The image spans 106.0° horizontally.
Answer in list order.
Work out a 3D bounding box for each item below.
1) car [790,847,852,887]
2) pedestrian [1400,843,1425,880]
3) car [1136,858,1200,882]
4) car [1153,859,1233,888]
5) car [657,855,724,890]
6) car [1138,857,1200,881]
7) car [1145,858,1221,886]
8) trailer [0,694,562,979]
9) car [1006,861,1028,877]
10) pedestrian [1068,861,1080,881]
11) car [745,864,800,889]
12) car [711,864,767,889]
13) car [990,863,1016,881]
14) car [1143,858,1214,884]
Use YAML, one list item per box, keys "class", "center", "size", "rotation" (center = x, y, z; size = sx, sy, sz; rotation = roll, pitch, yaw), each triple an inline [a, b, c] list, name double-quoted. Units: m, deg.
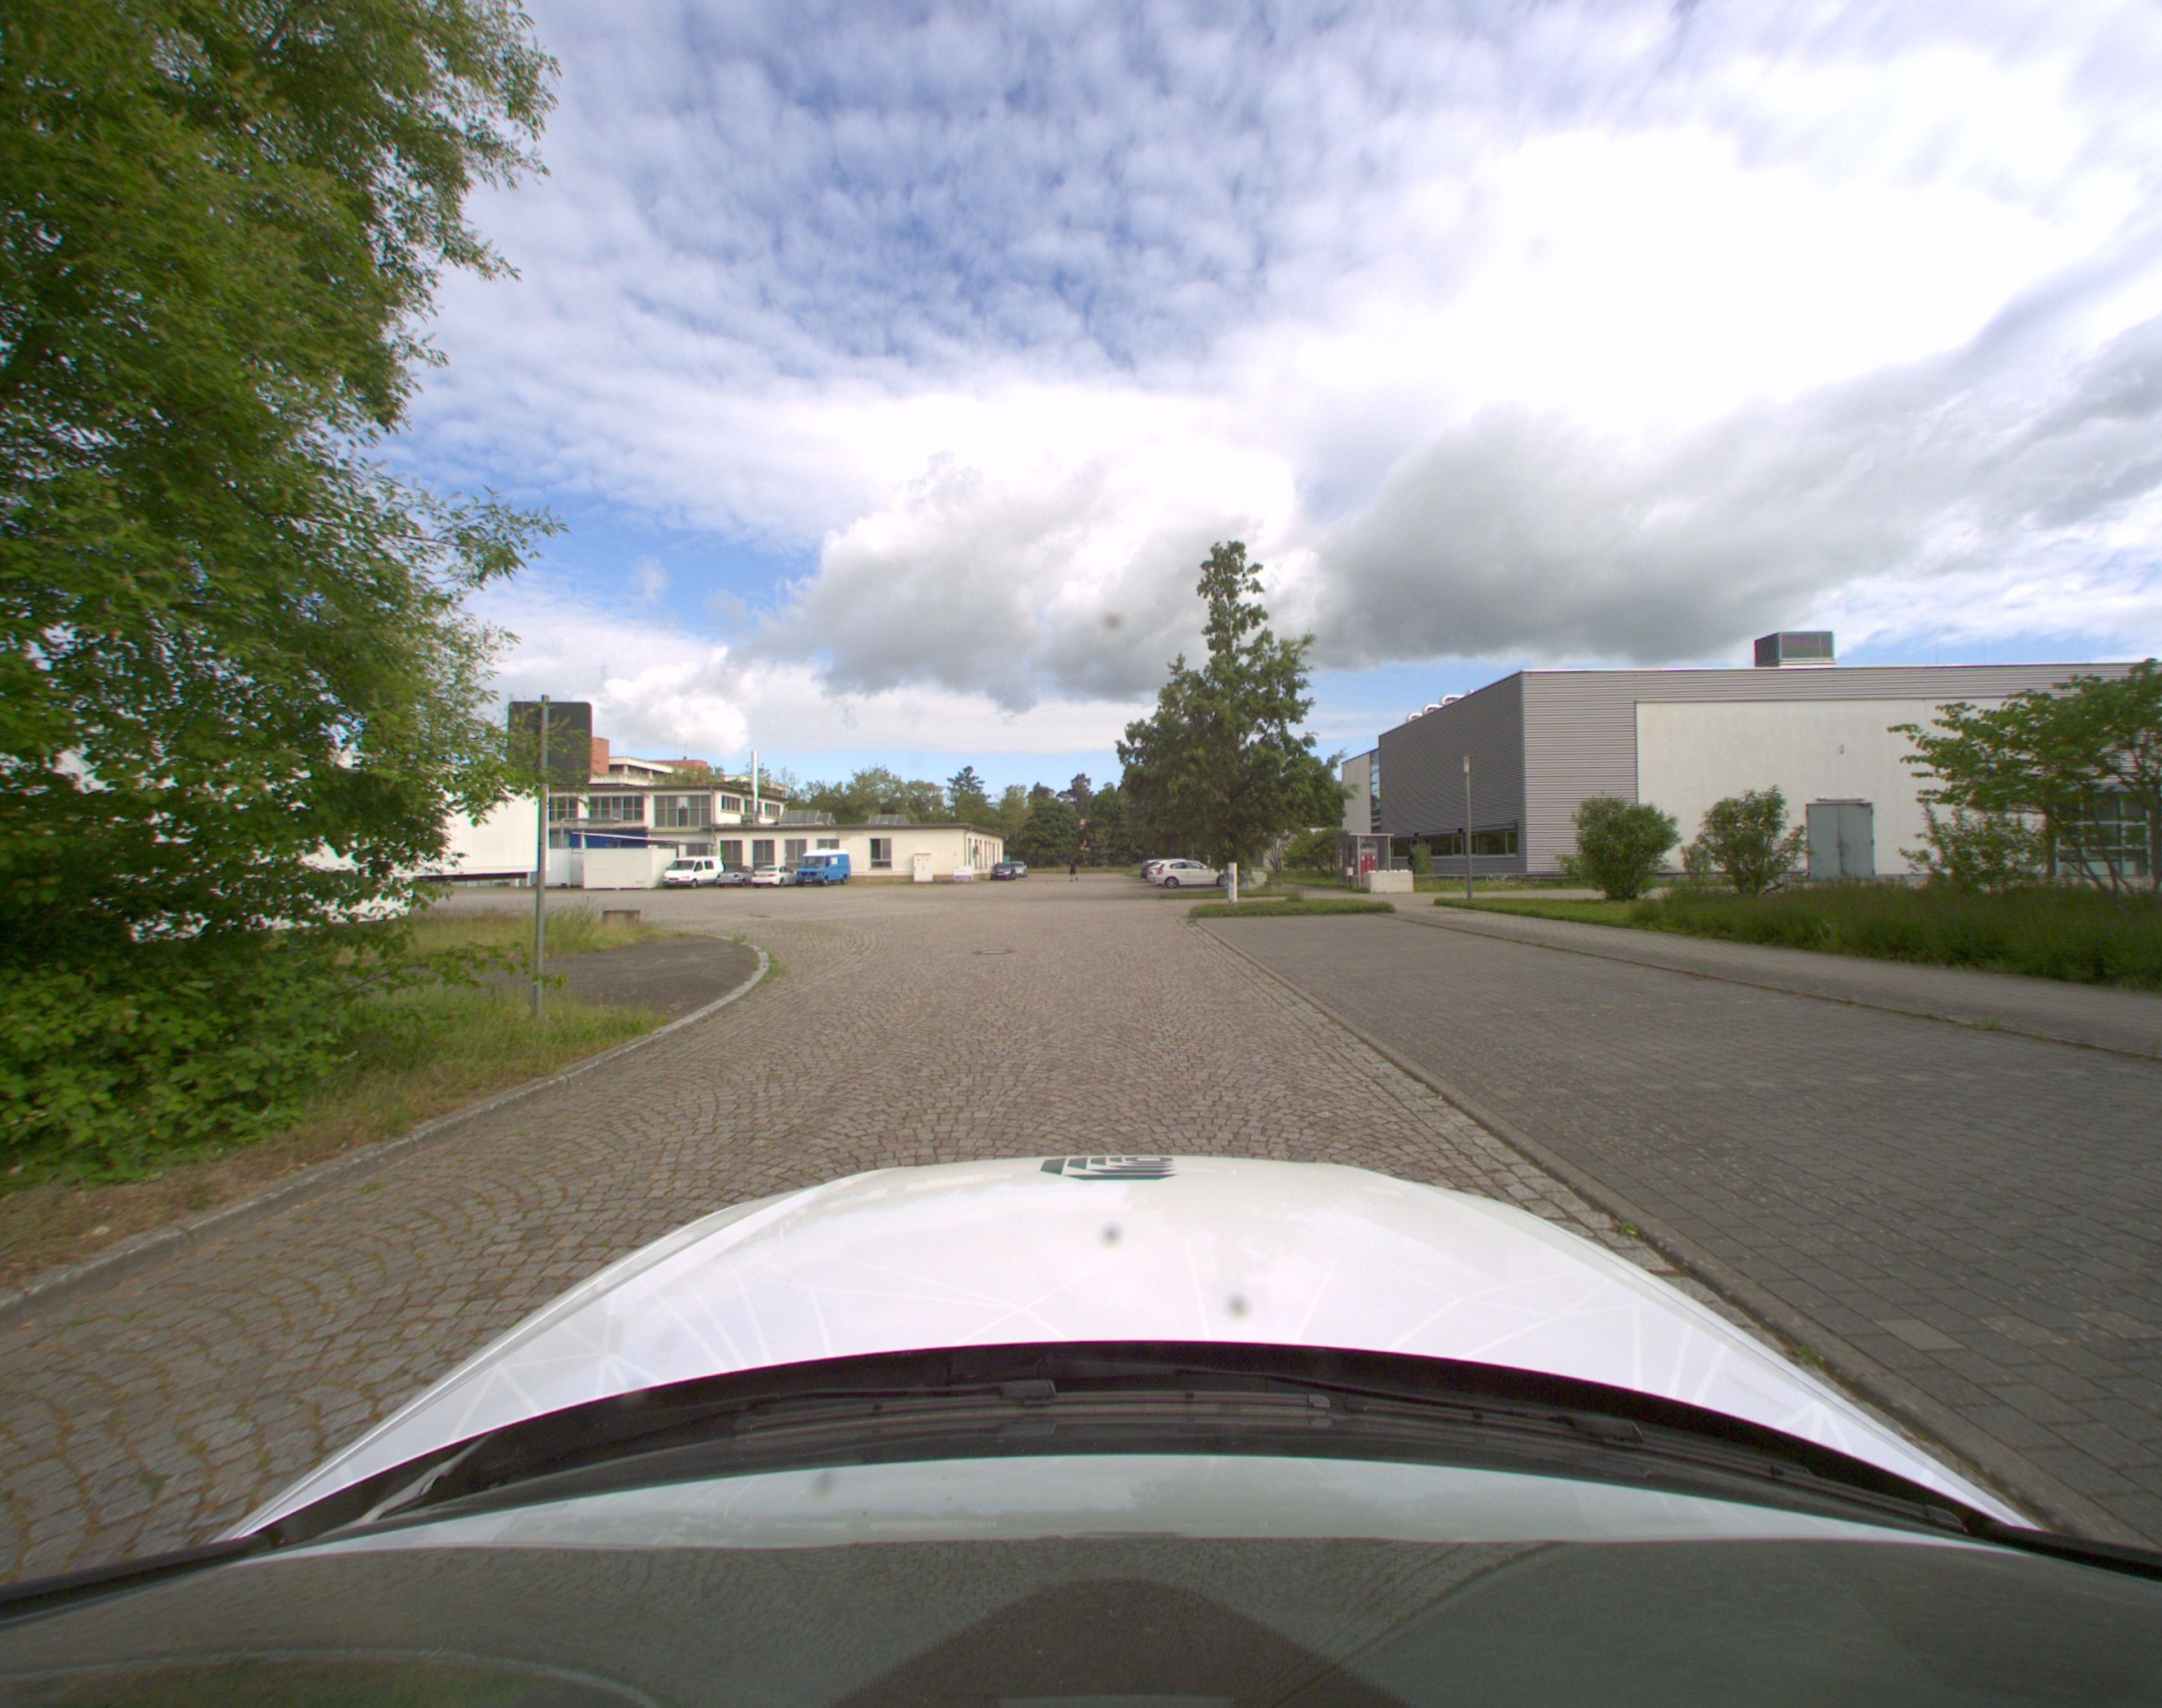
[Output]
- class: "car"
  center: [-17.499, 0.890, 55.175]
  size: [1.984, 2.523, 5.624]
  rotation: [-1, -1, 5]
- class: "pedestrian"
  center: [17.450, 0.409, 42.865]
  size: [0.922, 1.936, 0.847]
  rotation: [0, -1, -29]
- class: "car"
  center: [5.601, 1.006, 52.625]
  size: [3.972, 1.455, 1.770]
  rotation: [-1, -1, 1]
- class: "car"
  center: [5.782, 0.994, 42.507]
  size: [3.972, 1.455, 2.000]
  rotation: [0, -1, 1]
- class: "car"
  center: [-26.030, 1.224, 54.493]
  size: [1.892, 2.206, 4.787]
  rotation: [-1, -1, 4]
- class: "car"
  center: [6.001, 1.010, 55.837]
  size: [3.978, 1.533, 1.998]
  rotation: [-1, -1, -3]
- class: "car"
  center: [5.538, 0.988, 44.679]
  size: [3.972, 1.455, 1.698]
  rotation: [-1, -1, 1]
- class: "trailer"
  center: [-15.057, -0.158, 15.682]
  size: [2.645, 3.706, 10.731]
  rotation: [-1, -1, 4]
- class: "car"
  center: [-6.011, 1.384, 76.858]
  size: [1.744, 1.454, 3.998]
  rotation: [-1, -1, -1]
- class: "pedestrian"
  center: [-0.578, 1.314, 64.816]
  size: [0.937, 1.568, 0.971]
  rotation: [-1, -1, 0]
- class: "car"
  center: [-20.374, 1.439, 53.924]
  size: [1.893, 1.575, 4.003]
  rotation: [-1, -1, 3]
- class: "car"
  center: [-23.007, 1.478, 54.935]
  size: [1.893, 1.575, 4.003]
  rotation: [-1, -1, 3]
- class: "car"
  center: [-6.366, 1.428, 66.627]
  size: [1.744, 1.364, 3.998]
  rotation: [-1, -1, -1]
- class: "car"
  center: [5.666, 0.986, 47.719]
  size: [3.972, 1.455, 1.770]
  rotation: [-1, -1, 1]
